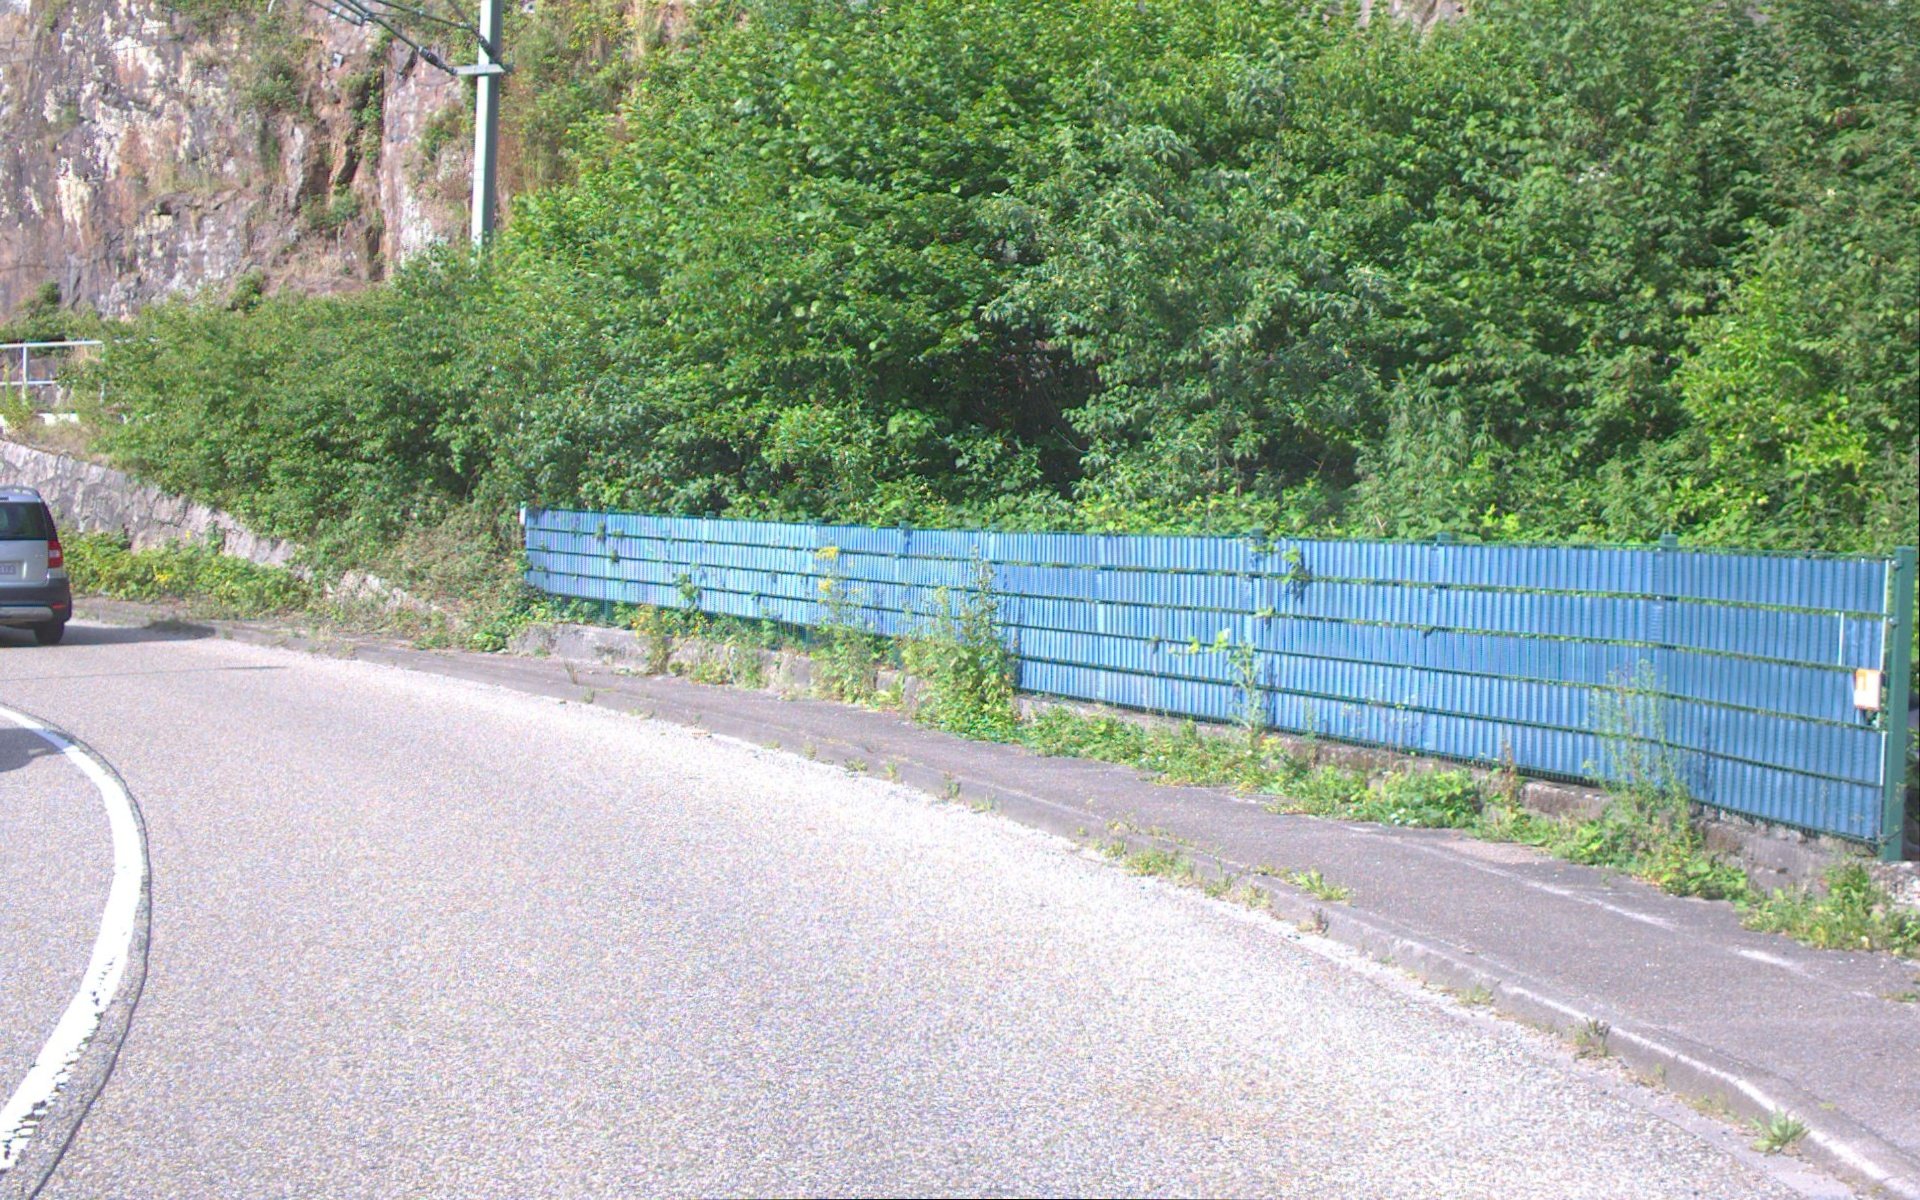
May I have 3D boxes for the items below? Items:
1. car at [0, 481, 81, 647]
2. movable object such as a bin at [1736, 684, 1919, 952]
[{"bbox_3d":[-10.808,-0.420,36.797,1.872,1.650,4.001,-2,3,-27],"label":"car"},{"bbox_3d":[3.788,0.825,13.439,0.855,0.844,2.538,3,1,-1],"label":"movable object such as a bin"}]
